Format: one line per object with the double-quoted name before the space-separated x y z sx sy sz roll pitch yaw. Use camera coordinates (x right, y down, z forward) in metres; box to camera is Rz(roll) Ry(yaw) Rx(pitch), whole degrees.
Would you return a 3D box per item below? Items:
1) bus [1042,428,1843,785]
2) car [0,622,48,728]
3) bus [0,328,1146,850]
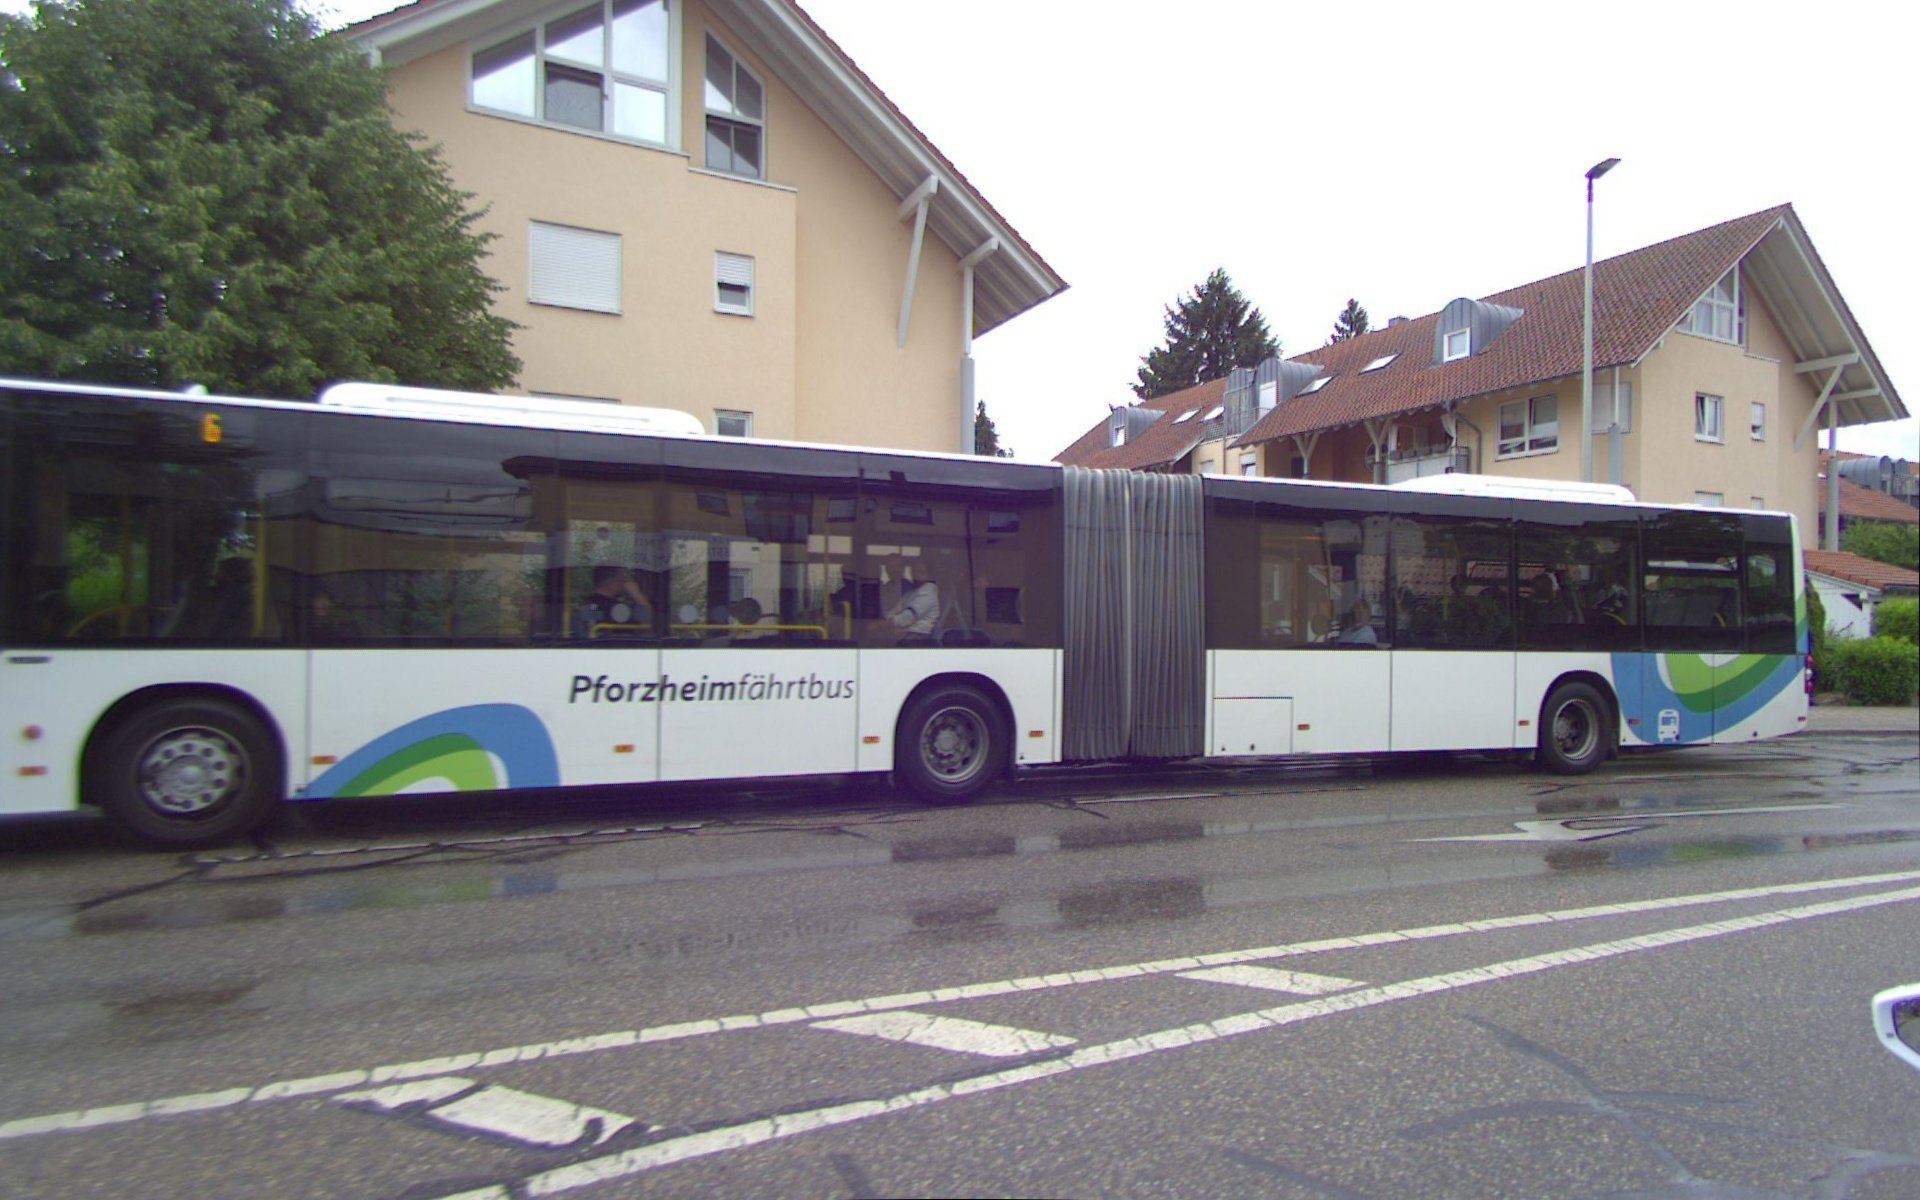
"bus" 5.209 0.146 10.960 8.267 3.039 2.586 1 -2 -16
"car" -15.307 1.014 13.446 4.139 1.458 1.815 1 -3 -20
"bus" -3.091 0.021 8.143 9.064 3.039 2.544 1 -2 -20
